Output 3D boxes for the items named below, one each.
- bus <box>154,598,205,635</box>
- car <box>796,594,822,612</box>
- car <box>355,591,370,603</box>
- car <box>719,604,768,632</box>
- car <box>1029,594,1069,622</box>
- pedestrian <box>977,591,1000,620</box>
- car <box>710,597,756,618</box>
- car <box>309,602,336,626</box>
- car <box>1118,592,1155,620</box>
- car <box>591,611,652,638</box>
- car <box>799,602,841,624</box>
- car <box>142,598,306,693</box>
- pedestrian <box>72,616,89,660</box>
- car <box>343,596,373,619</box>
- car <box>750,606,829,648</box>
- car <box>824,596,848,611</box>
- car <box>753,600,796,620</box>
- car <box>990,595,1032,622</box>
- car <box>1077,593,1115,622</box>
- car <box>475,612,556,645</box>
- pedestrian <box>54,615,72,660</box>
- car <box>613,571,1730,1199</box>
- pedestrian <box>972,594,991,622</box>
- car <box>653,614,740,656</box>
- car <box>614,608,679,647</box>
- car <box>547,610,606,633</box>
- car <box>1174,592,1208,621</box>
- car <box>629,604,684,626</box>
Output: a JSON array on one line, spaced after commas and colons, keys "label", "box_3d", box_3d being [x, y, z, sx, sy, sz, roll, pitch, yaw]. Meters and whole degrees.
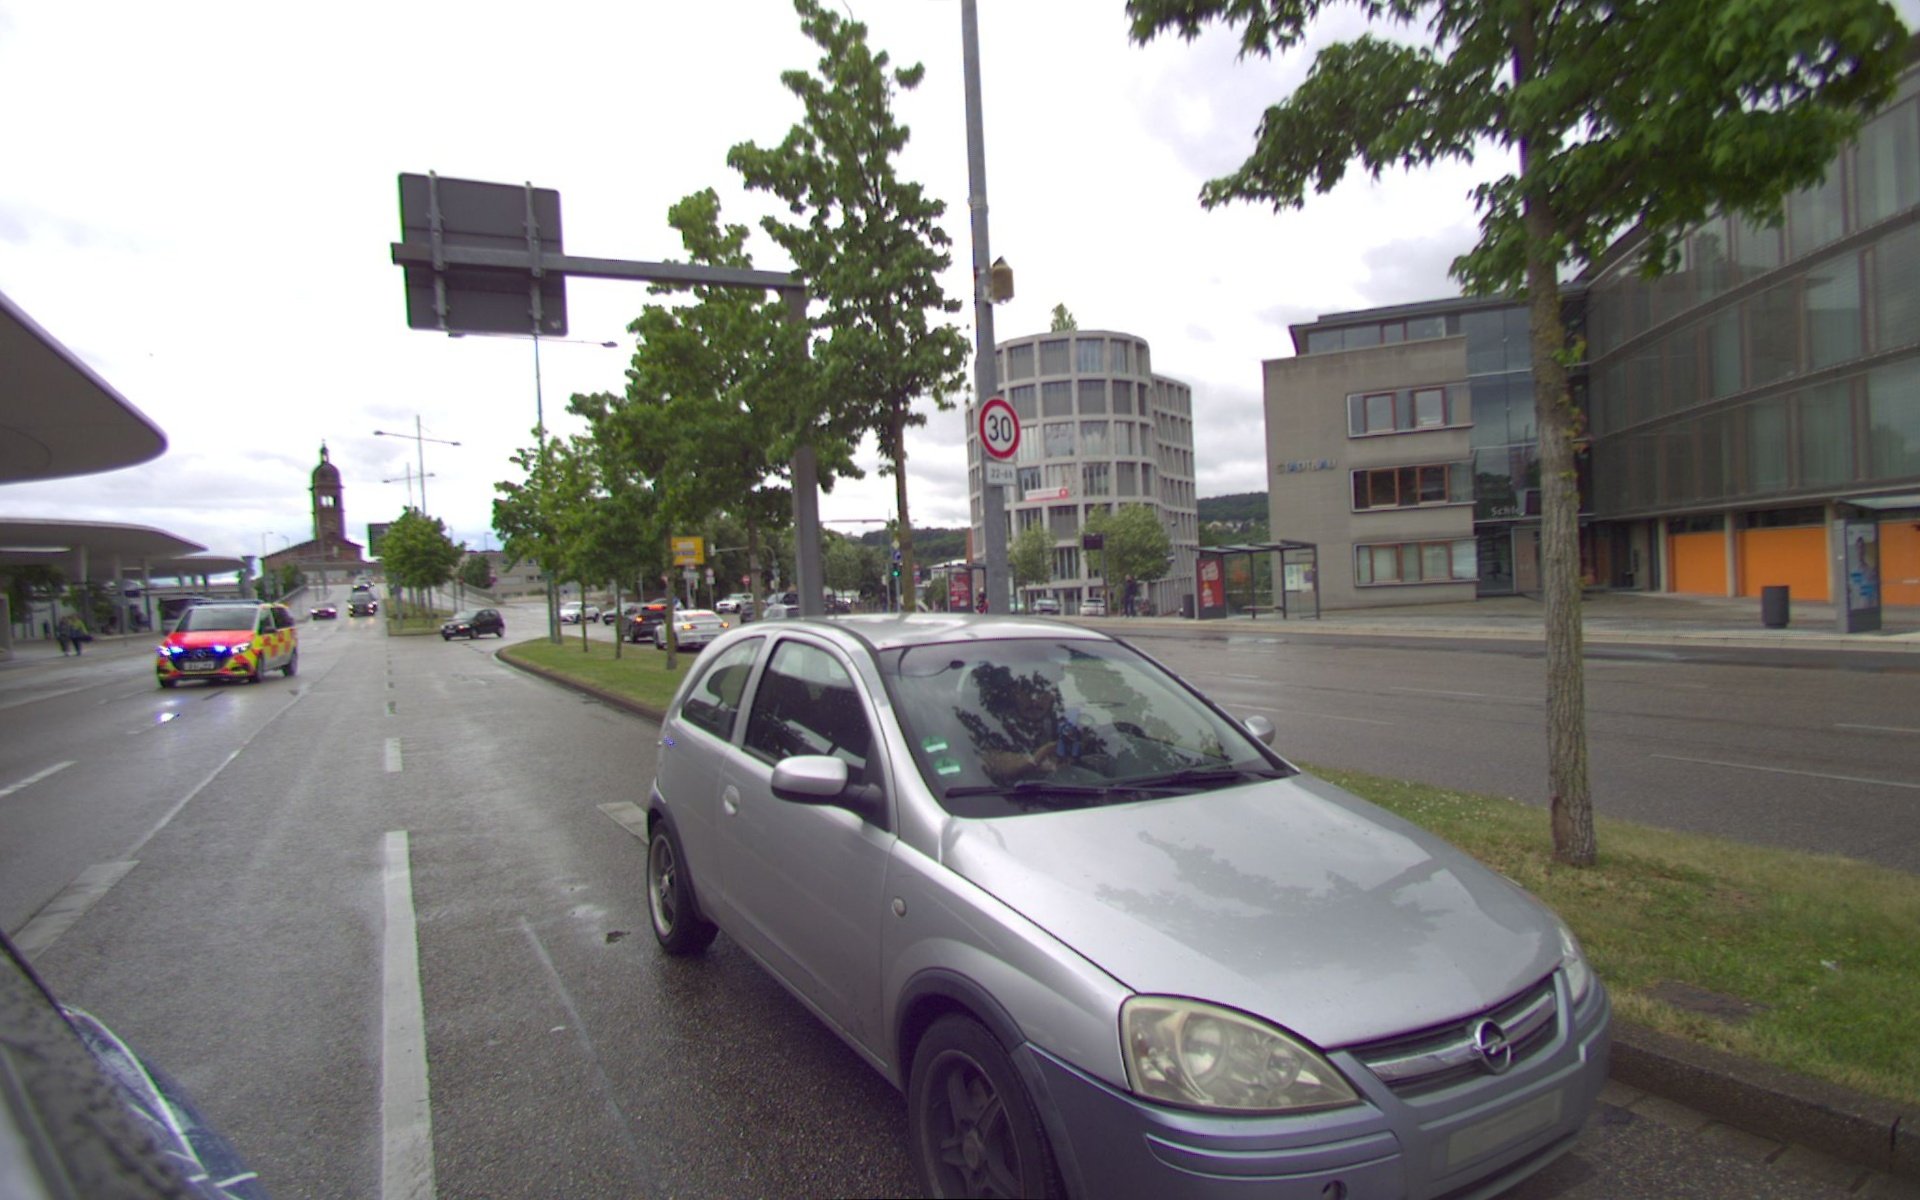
[{"label": "bus", "box_3d": [-72.749, 1.561, 94.279, 3.527, 3.121, 10.776, -2, 0, -38]}, {"label": "car", "box_3d": [-14.753, 0.301, 99.200, 1.851, 1.646, 4.155, -1, 0, 2]}, {"label": "car", "box_3d": [-82.804, -0.364, 140.250, 1.524, 1.572, 3.659, -1, 0, -35]}, {"label": "car", "box_3d": [-12.857, 1.025, 59.988, 1.853, 1.566, 4.015, -1, 0, -27]}, {"label": "car", "box_3d": [5.745, 0.499, 65.039, 1.860, 1.715, 4.136, -1, 0, 15]}, {"label": "pedestrian", "box_3d": [1.492, 0.285, 52.774, 0.967, 1.501, 0.736, -1, 0, -19]}, {"label": "car", "box_3d": [-18.931, 0.621, 84.679, 1.861, 1.646, 4.277, -1, 0, 17]}, {"label": "car", "box_3d": [-55.226, 1.225, 87.622, 1.966, 2.029, 4.011, -1, 0, -33]}, {"label": "car", "box_3d": [11.159, 0.373, 63.814, 1.860, 1.715, 4.136, -1, 0, 15]}, {"label": "car", "box_3d": [-22.749, 1.655, 68.226, 1.861, 1.715, 4.135, -1, 0, 17]}, {"label": "car", "box_3d": [-10.408, 0.960, 75.099, 1.853, 1.566, 4.015, -1, 0, -27]}, {"label": "car", "box_3d": [-17.635, 0.994, 24.552, 1.965, 2.029, 5.078, -1, 0, -21]}, {"label": "pedestrian", "box_3d": [-35.677, 1.539, 41.039, 0.439, 1.777, 0.538, -2, 0, -36]}, {"label": "car", "box_3d": [-53.741, 0.651, 90.330, 1.967, 2.029, 4.010, -1, 0, -35]}, {"label": "car", "box_3d": [-6.511, 0.986, 38.279, 1.671, 1.477, 4.466, -1, 0, -27]}, {"label": "car", "box_3d": [-13.761, 0.372, 112.808, 1.853, 1.646, 4.151, -1, 0, 5]}, {"label": "car", "box_3d": [-15.439, 0.826, 84.223, 1.861, 1.646, 4.135, -1, 0, 17]}, {"label": "car", "box_3d": [3.376, 0.536, 65.820, 1.860, 1.715, 4.136, -1, 0, 15]}, {"label": "car", "box_3d": [8.663, 0.440, 64.216, 1.860, 1.714, 4.136, -2, 0, 15]}, {"label": "car", "box_3d": [-24.168, 1.526, 55.196, 1.860, 1.715, 4.136, -1, 0, 15]}, {"label": "pedestrian", "box_3d": [-36.098, 1.521, 40.721, 0.438, 1.777, 0.538, -2, 0, -36]}, {"label": "car", "box_3d": [0.075, 0.704, 3.483, 1.671, 1.477, 3.731, -1, 0, -31]}, {"label": "pedestrian", "box_3d": [1.140, 0.419, 53.675, 0.721, 1.501, 0.736, -1, 0, -21]}, {"label": "car", "box_3d": [-9.380, 1.191, 35.790, 1.977, 1.363, 4.178, -1, 0, -29]}, {"label": "car", "box_3d": [-13.494, 1.137, 43.447, 1.977, 1.566, 4.178, -1, 0, -27]}, {"label": "car", "box_3d": [-27.499, 1.549, 72.711, 1.799, 1.571, 4.021, -1, 0, 21]}, {"label": "car", "box_3d": [14.293, 0.367, 62.570, 1.860, 1.715, 4.136, -1, 0, 15]}, {"label": "car", "box_3d": [-24.965, 1.225, 83.347, 4.085, 1.646, 1.883, -2, 0, -25]}]
